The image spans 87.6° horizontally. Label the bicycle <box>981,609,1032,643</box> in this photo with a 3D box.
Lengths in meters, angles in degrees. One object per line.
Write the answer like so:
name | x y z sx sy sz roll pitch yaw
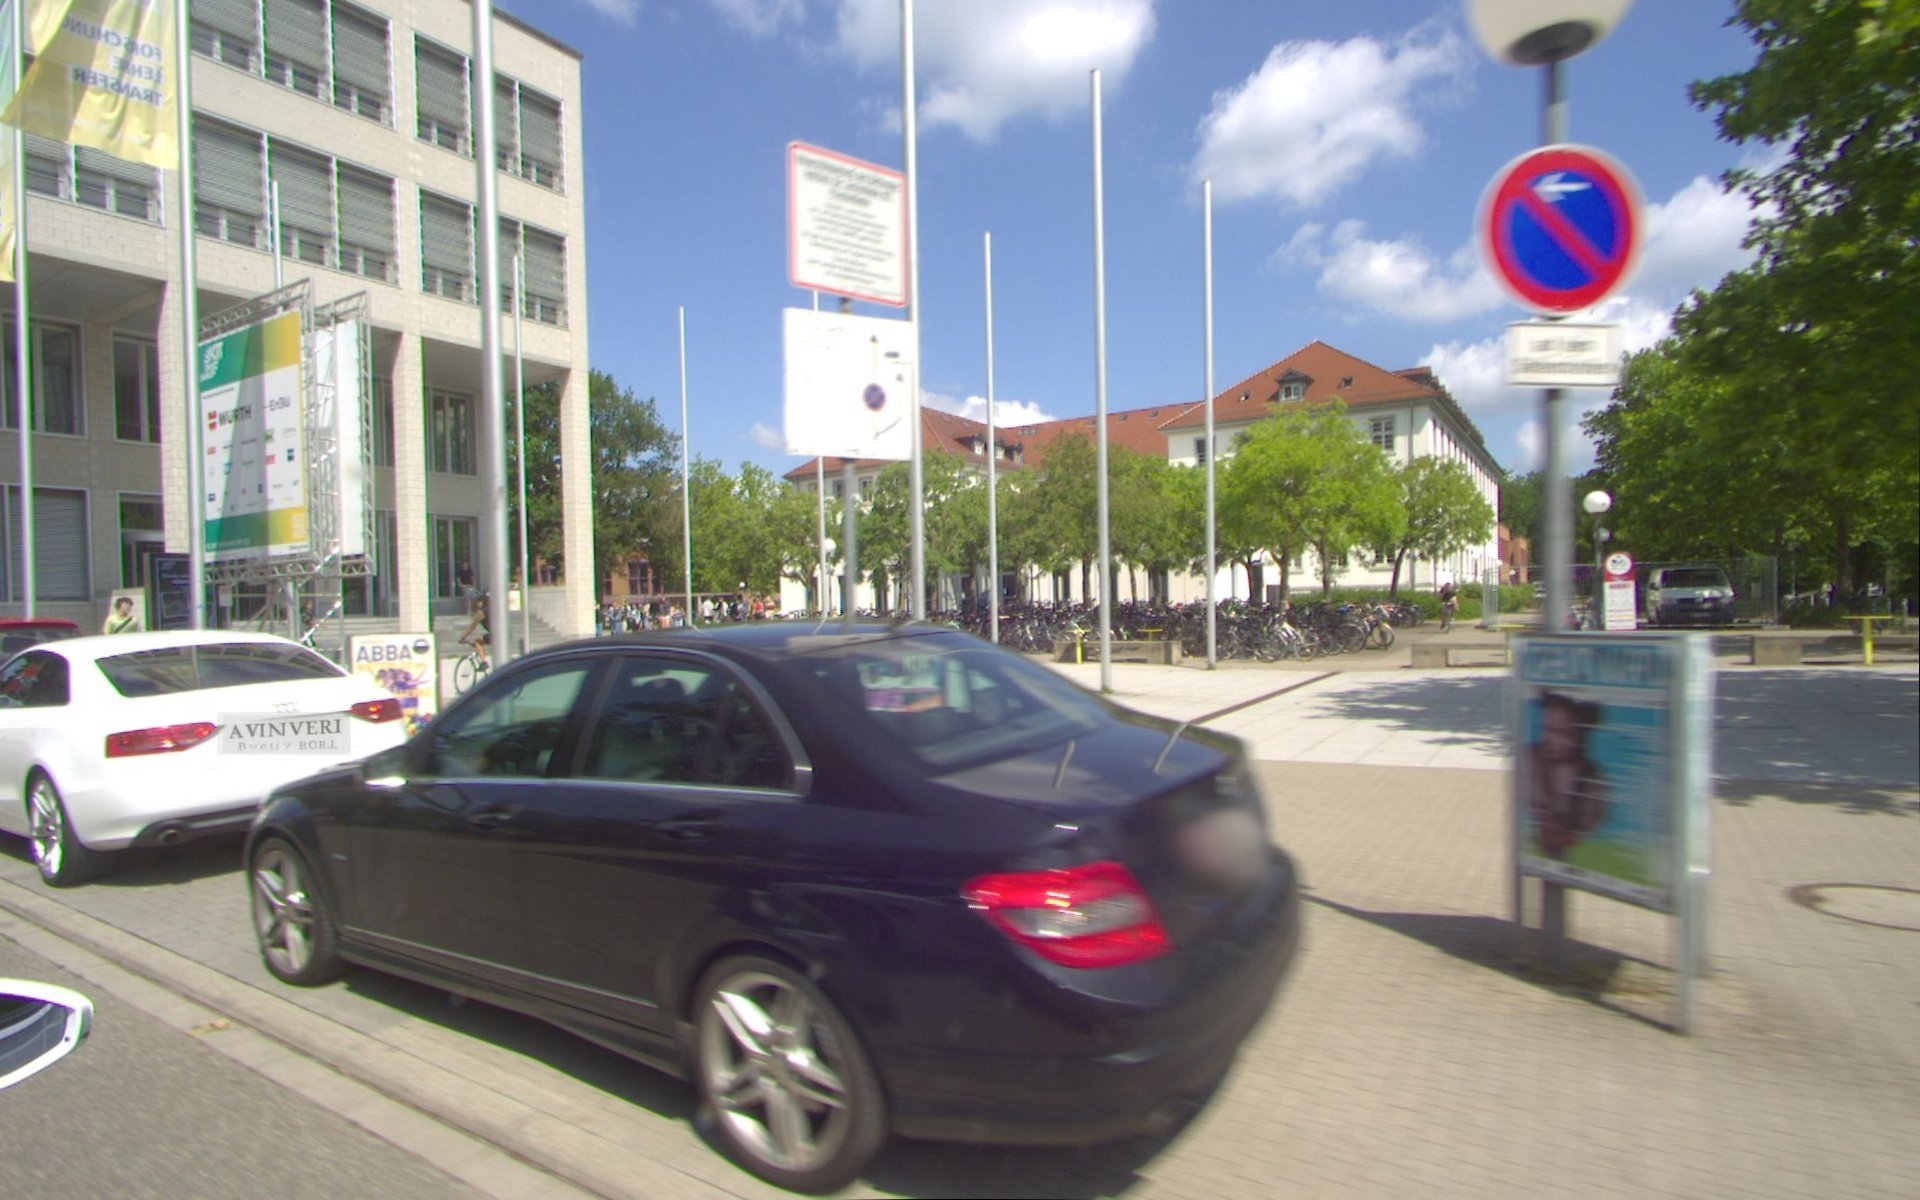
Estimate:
bicycle | 1.641 0.920 35.197 1.733 1.113 0.604 -3 0 2

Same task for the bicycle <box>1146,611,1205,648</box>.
bicycle | 6.940 0.953 32.266 1.733 1.113 0.604 -3 0 2

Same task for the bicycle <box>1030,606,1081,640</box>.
bicycle | 3.404 0.834 35.907 1.733 1.113 0.604 -3 0 2

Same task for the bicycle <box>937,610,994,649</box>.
bicycle | 0.182 0.927 31.610 1.733 1.113 0.604 -3 0 2

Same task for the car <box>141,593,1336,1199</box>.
car | -1.242 0.765 3.999 4.880 1.419 1.713 -1 2 33

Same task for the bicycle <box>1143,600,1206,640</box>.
bicycle | 6.440 0.600 30.102 1.733 1.113 0.604 -3 0 2

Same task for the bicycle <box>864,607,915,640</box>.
bicycle | -2.540 0.853 36.052 1.733 1.113 0.604 -3 0 2

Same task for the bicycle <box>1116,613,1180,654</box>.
bicycle | 5.519 0.985 29.421 1.733 1.113 0.604 -3 0 2

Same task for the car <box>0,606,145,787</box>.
car | -9.887 0.875 9.940 4.090 1.517 1.609 -1 2 34

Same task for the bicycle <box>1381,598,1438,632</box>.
bicycle | 16.169 0.545 36.038 1.733 1.113 0.604 -3 0 3

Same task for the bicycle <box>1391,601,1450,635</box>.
bicycle | 16.083 0.628 34.991 1.733 1.113 0.604 -3 0 3

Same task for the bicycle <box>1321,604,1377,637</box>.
bicycle | 14.007 0.736 36.043 1.733 1.113 0.604 -3 0 3

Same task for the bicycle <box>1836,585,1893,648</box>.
bicycle | 18.401 0.322 20.362 0.792 1.198 2.012 -2 -1 44

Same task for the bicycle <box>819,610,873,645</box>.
bicycle | -3.984 0.955 35.035 1.733 1.113 0.604 -3 0 2

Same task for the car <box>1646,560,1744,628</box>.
car | 22.677 -0.167 31.061 1.876 1.889 4.918 -2 -1 30

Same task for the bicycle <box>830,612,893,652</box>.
bicycle | -2.929 0.944 29.872 1.733 1.113 0.604 -3 0 2

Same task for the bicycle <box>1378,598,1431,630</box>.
bicycle | 17.037 0.540 38.404 1.733 1.113 0.604 -3 0 2

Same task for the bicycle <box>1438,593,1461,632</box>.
bicycle | 15.132 0.371 30.988 0.598 1.153 1.582 0 1 25

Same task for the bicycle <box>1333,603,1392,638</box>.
bicycle | 13.843 0.723 34.472 1.733 1.113 0.604 -3 0 3

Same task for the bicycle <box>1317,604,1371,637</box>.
bicycle | 14.083 0.762 36.747 1.733 1.113 0.604 -3 0 3

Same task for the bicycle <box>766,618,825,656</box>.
bicycle | -5.245 1.176 32.014 1.733 1.113 0.604 -3 0 2

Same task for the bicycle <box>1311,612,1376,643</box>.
bicycle | 11.384 0.822 29.749 1.733 0.880 0.484 -1 0 3

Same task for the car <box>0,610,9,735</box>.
car | -14.023 0.952 12.903 3.945 1.549 1.715 -1 0 34

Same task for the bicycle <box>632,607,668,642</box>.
bicycle | -10.680 0.837 34.542 0.669 1.153 1.692 0 1 1

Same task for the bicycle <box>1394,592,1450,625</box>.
bicycle | 17.097 0.311 37.101 1.733 1.113 0.604 -3 0 2

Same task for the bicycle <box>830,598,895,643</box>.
bicycle | -3.022 0.633 30.950 1.840 1.313 0.662 -3 -1 15

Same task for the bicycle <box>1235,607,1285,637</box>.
bicycle | 11.904 0.884 39.763 1.733 1.113 0.604 -3 0 2

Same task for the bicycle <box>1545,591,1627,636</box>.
bicycle | 16.537 0.358 26.472 1.733 1.113 0.604 -3 0 3

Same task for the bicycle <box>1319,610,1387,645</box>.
bicycle | 11.346 0.800 28.942 1.733 0.967 0.604 -1 0 3

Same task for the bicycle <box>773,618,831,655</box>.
bicycle | -5.154 1.188 32.733 1.733 1.113 0.604 -3 0 2

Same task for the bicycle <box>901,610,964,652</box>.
bicycle | -0.779 0.879 28.601 1.733 1.113 0.604 -3 0 2

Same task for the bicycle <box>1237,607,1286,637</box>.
bicycle | 12.167 0.887 40.433 1.733 1.113 0.604 -3 0 2

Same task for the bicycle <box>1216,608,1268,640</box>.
bicycle | 10.623 0.899 37.716 1.733 1.113 0.604 -3 0 2

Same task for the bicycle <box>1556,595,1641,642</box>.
bicycle | 16.414 0.486 25.779 1.733 1.113 0.604 -3 0 3

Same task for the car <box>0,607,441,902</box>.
car | -5.706 0.837 7.003 4.377 1.419 1.713 -1 2 33

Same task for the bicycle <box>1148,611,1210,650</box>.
bicycle | 6.706 0.930 30.761 1.733 1.113 0.604 -3 0 2

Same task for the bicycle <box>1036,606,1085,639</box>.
bicycle | 3.679 0.840 36.761 1.733 1.113 0.604 -3 0 2

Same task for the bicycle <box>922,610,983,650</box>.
bicycle | -0.203 0.882 29.522 1.733 1.113 0.604 -3 0 2

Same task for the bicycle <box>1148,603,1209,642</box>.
bicycle | 6.860 0.711 31.464 1.733 1.113 0.604 -3 0 2

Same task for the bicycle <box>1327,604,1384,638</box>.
bicycle | 13.938 0.737 35.323 1.733 1.113 0.604 -3 0 3

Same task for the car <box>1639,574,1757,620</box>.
car | 32.624 -0.101 44.435 3.943 1.806 1.990 -3 -1 31

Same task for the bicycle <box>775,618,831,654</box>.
bicycle | -5.246 1.208 33.471 1.733 1.113 0.604 -3 0 2

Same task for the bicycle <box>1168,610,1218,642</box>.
bicycle | 8.793 0.989 37.835 1.733 1.113 0.604 -3 0 2
